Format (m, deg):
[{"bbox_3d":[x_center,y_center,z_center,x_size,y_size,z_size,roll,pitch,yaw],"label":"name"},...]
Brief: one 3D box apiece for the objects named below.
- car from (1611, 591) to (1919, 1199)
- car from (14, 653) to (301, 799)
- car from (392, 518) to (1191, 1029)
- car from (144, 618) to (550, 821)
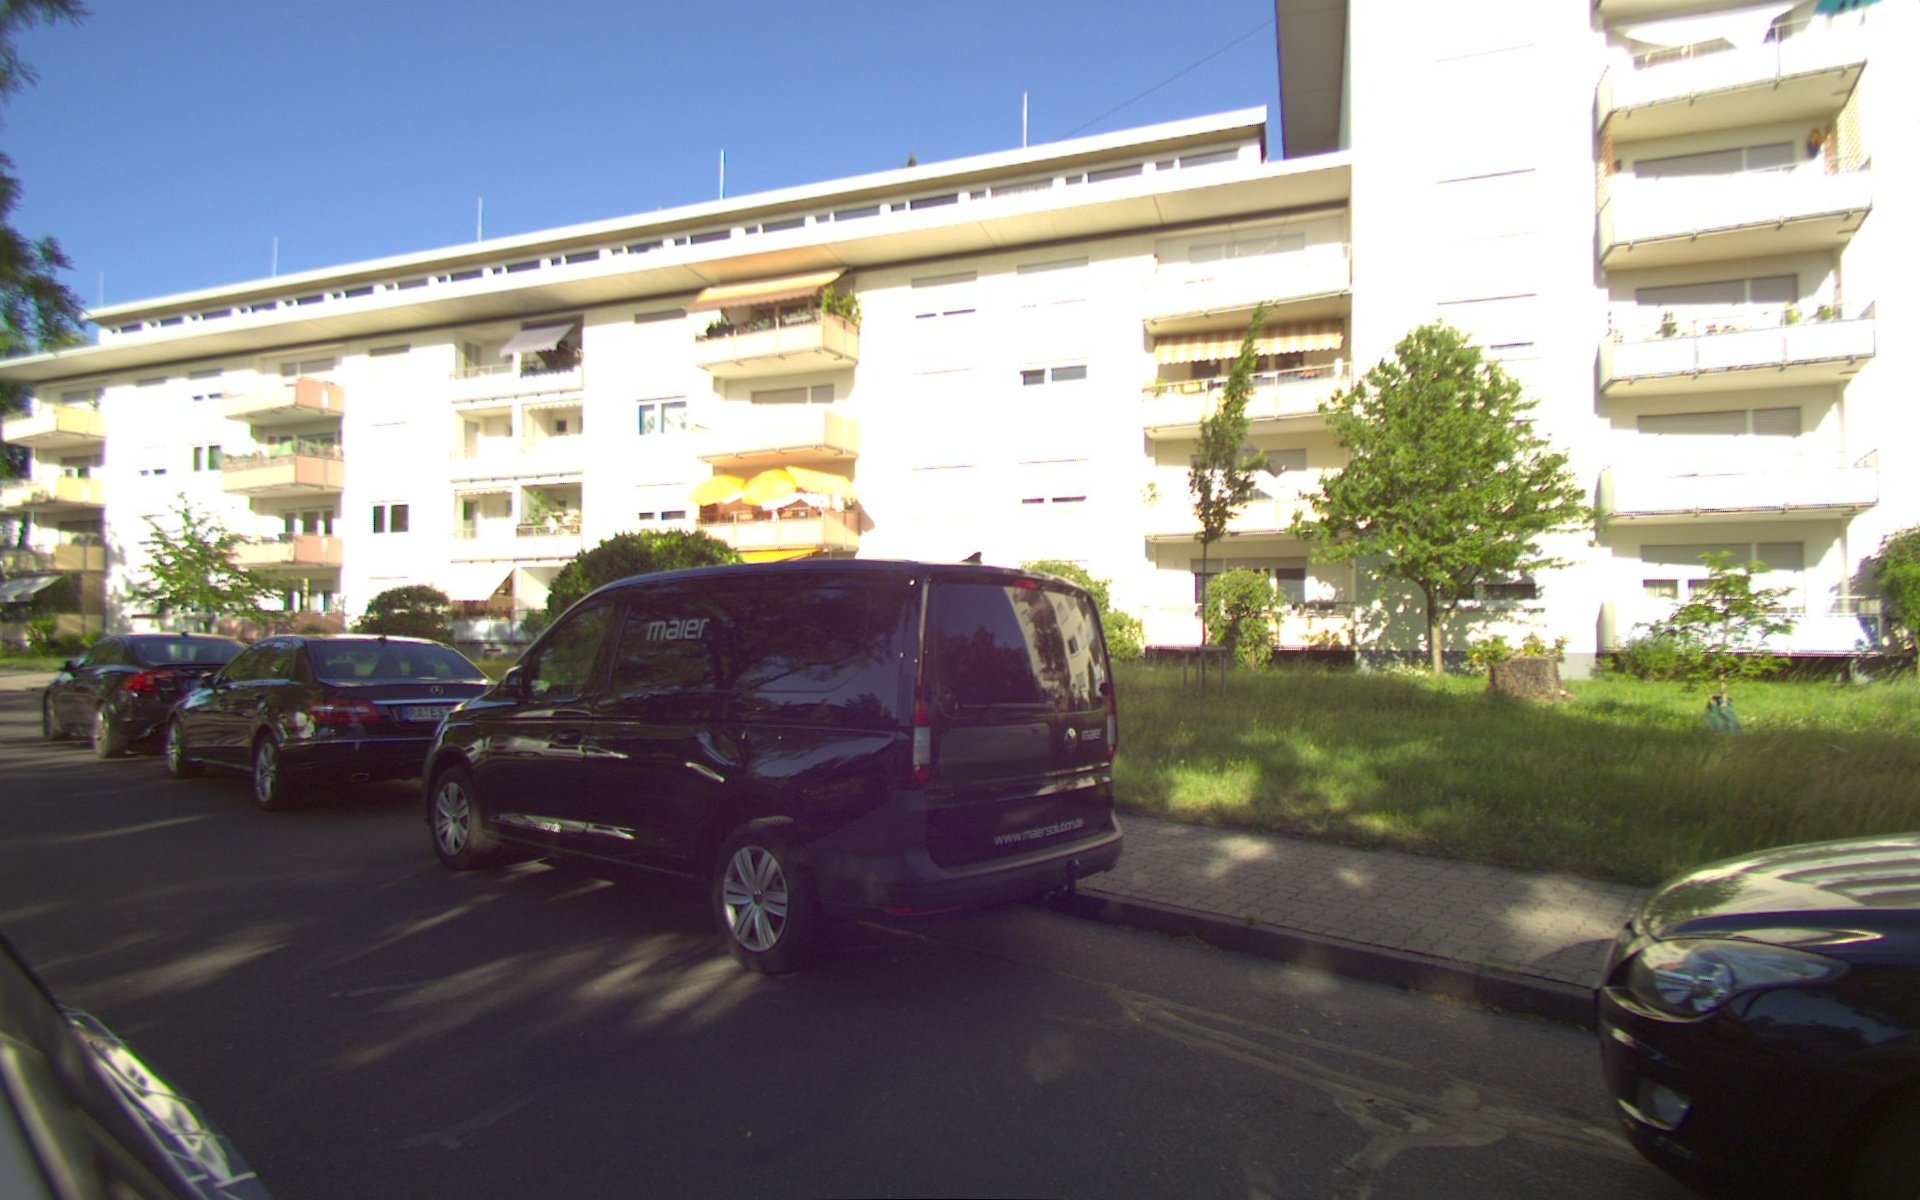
[{"bbox_3d":[3.575,0.716,1.607,4.017,1.465,1.820,-2,-4,42],"label":"car"},{"bbox_3d":[-10.470,1.465,13.071,4.794,1.493,1.822,-1,-3,38],"label":"car"},{"bbox_3d":[-1.305,0.692,5.864,4.884,1.794,1.821,-1,-4,40],"label":"car"},{"bbox_3d":[-5.976,0.986,9.639,4.570,1.493,1.821,-1,-5,39],"label":"car"}]
